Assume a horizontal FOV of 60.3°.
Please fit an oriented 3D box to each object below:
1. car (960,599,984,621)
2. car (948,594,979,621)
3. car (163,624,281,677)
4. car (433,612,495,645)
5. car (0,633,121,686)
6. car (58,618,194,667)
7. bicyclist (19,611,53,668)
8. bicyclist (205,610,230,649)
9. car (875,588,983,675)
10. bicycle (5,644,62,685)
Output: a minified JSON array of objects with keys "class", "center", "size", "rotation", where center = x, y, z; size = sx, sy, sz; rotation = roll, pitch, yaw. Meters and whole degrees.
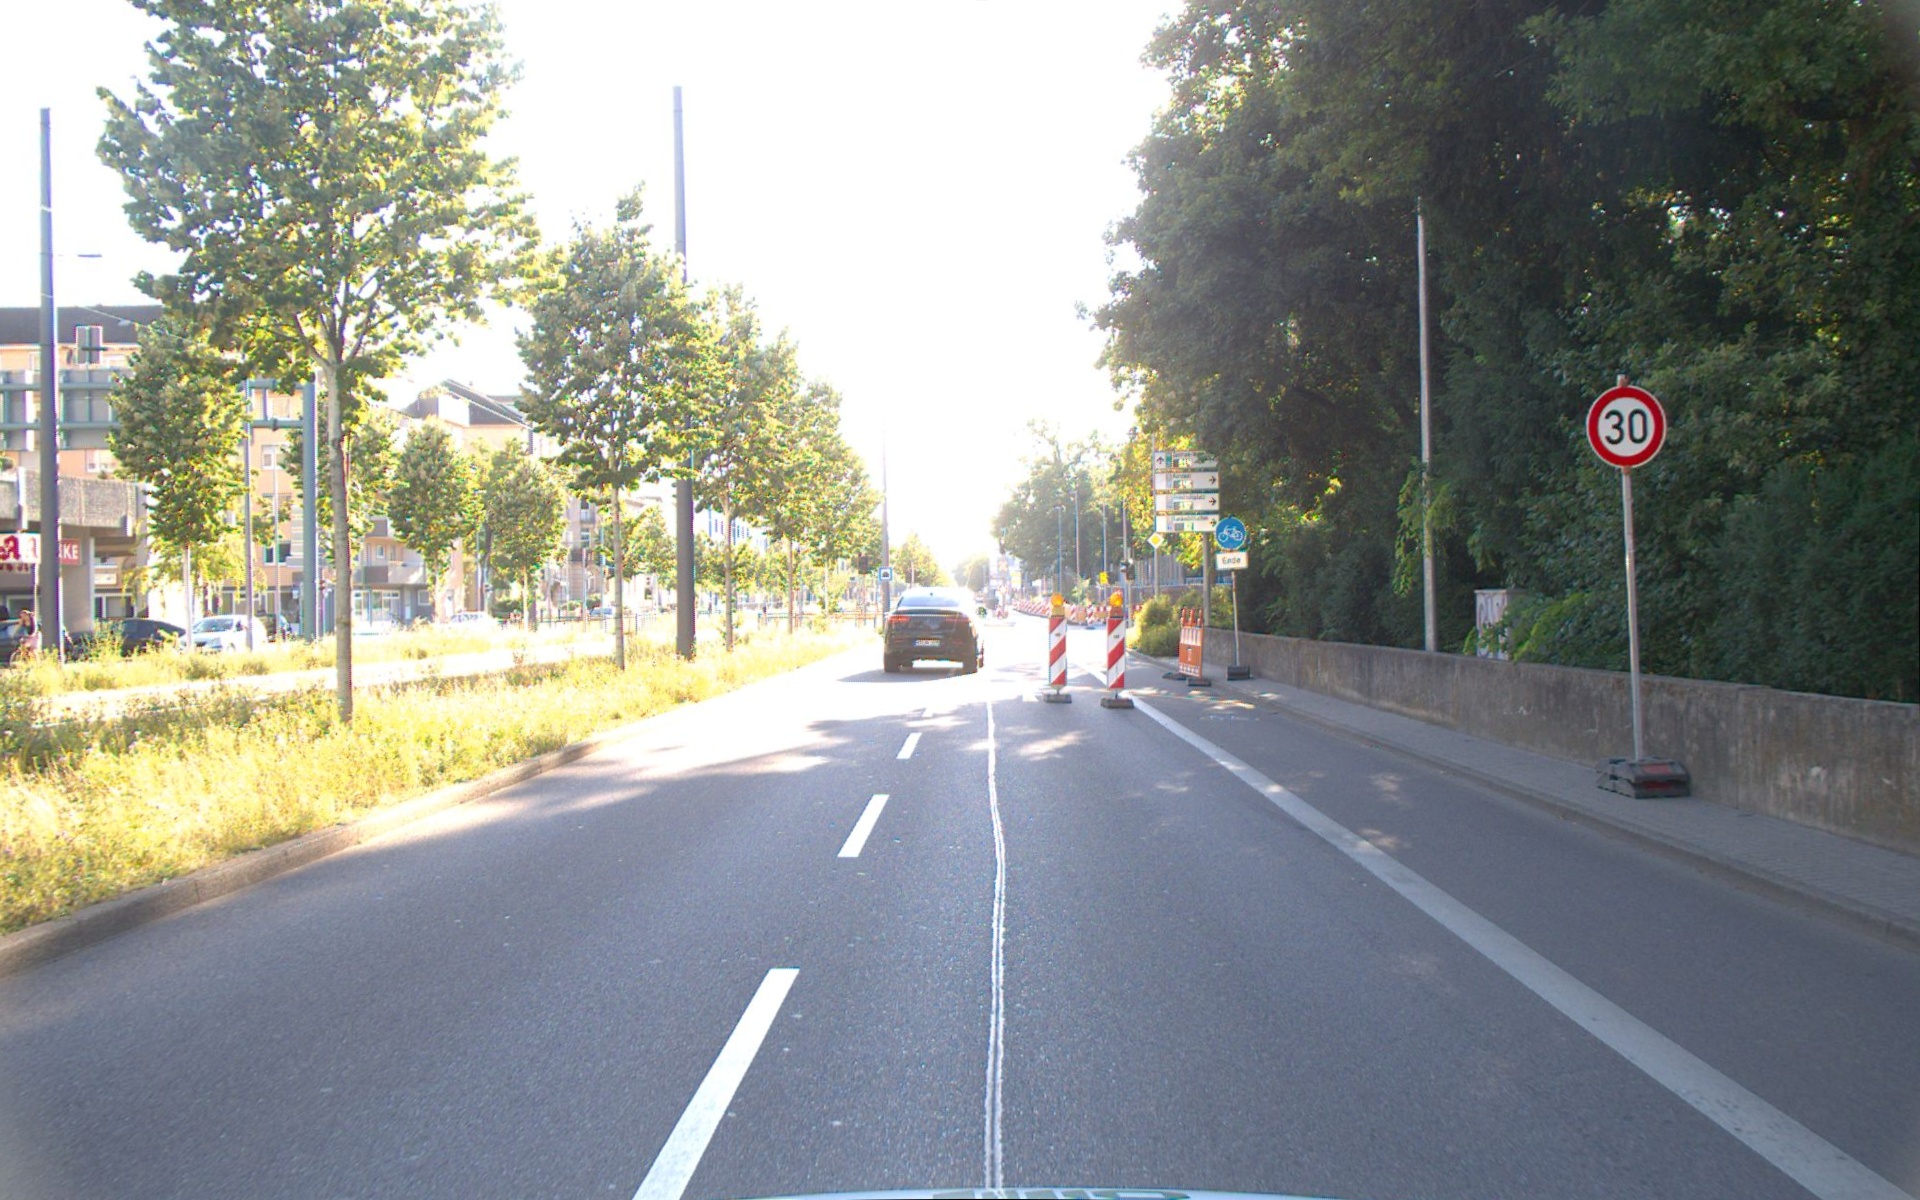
[{"class":"car","center":[0.902,0.752,126.778],"size":[1.731,1.632,3.772],"rotation":[-1,0,0]},{"class":"car","center":[0.216,0.422,103.217],"size":[1.847,1.608,4.000],"rotation":[0,1,0]},{"class":"car","center":[-23.622,1.596,53.101],"size":[1.846,1.541,4.001],"rotation":[0,0,3]},{"class":"car","center":[-23.350,1.329,77.967],"size":[1.894,1.421,3.686],"rotation":[-1,0,-2]},{"class":"car","center":[-29.765,1.907,53.832],"size":[1.965,1.601,3.975],"rotation":[0,0,42]},{"class":"car","center":[-29.498,1.475,58.572],"size":[3.964,1.590,1.970],"rotation":[0,0,-41]},{"class":"bicyclist","center":[-25.853,1.091,46.292],"size":[0.540,1.571,0.682],"rotation":[0,0,2]},{"class":"bicyclist","center":[-26.418,1.038,58.858],"size":[0.580,1.379,0.759],"rotation":[0,0,-2]},{"class":"car","center":[-0.726,0.629,35.557],"size":[1.955,1.765,3.994],"rotation":[0,0,-7]},{"class":"bicycle","center":[-25.870,1.787,46.219],"size":[0.543,1.058,1.791],"rotation":[0,0,2]}]
